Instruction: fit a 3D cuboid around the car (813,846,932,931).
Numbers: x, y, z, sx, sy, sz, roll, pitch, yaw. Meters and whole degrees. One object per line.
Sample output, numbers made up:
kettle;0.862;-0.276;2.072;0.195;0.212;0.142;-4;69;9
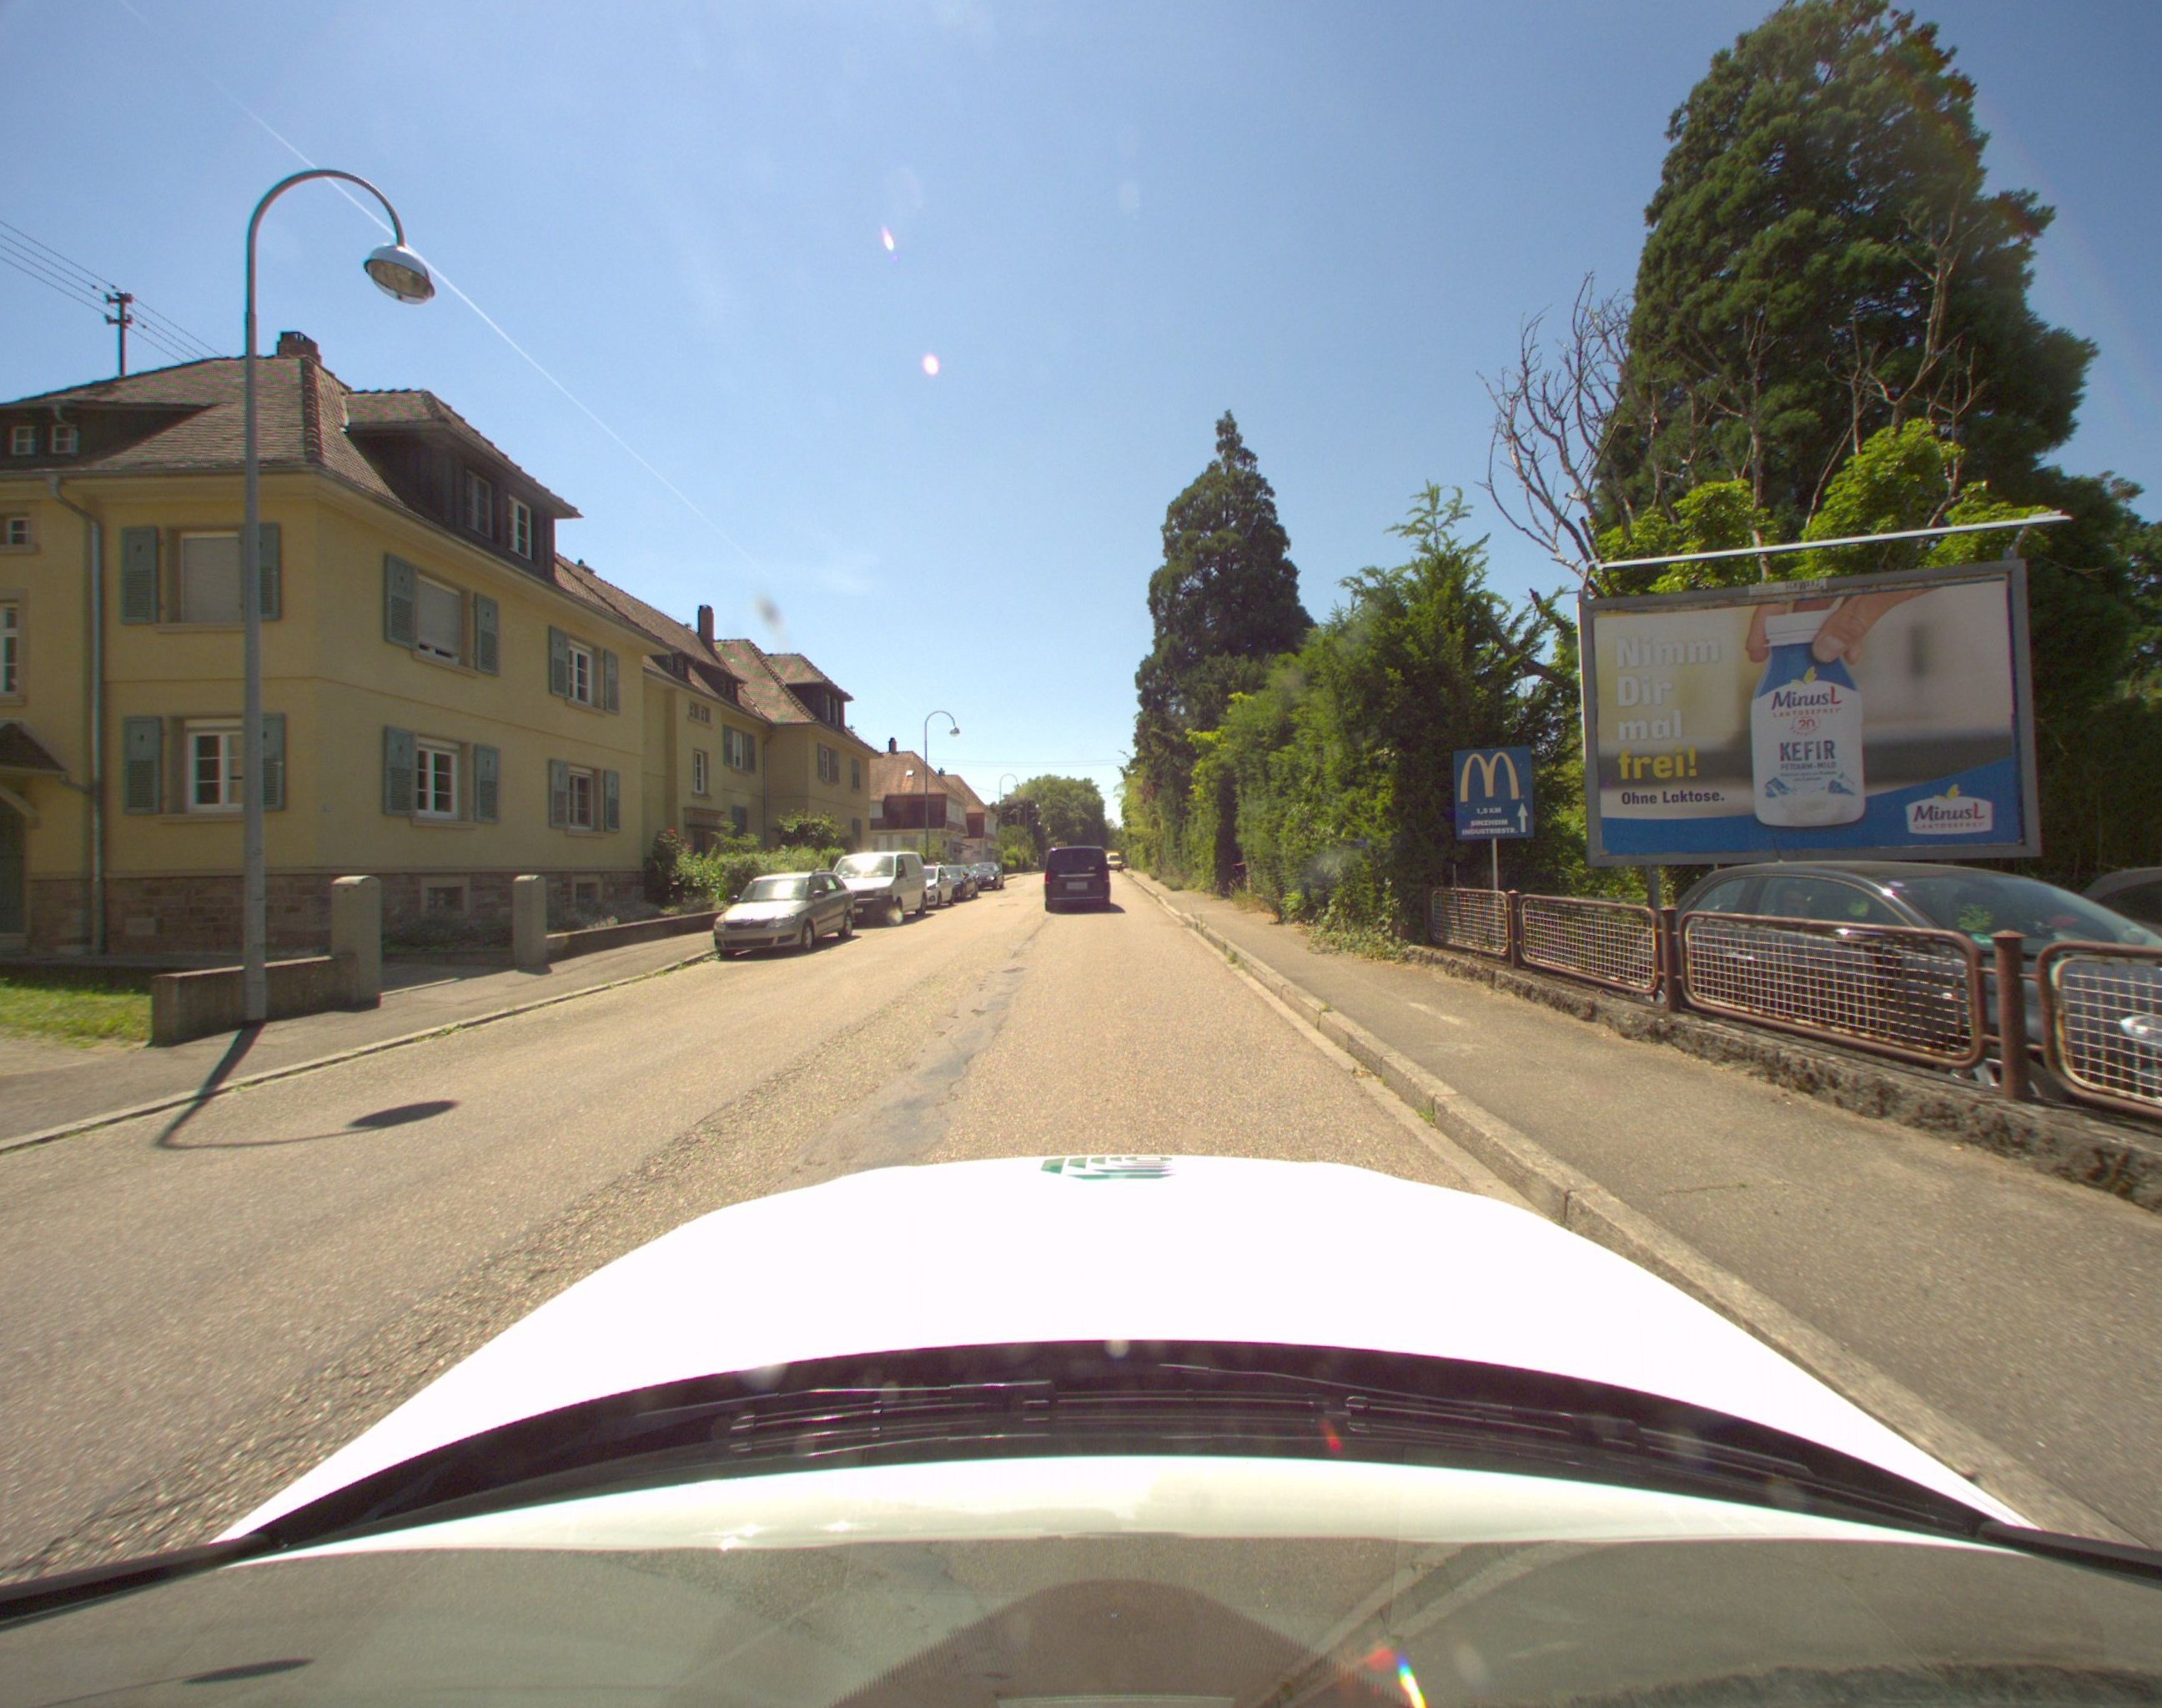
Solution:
car;-5.559;0.860;22.399;1.871;1.963;4.626;-4;0;1

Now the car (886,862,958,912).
car;-5.378;1.078;27.911;1.660;1.492;3.479;-2;0;1

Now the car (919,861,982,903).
car;-5.171;1.062;32.721;1.660;1.492;4.467;-2;0;1

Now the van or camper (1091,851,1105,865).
van or camper;2.443;0.582;116.232;1.986;2.014;4.002;-2;-1;2

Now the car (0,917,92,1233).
car;-6.058;1.094;2.207;1.710;1.485;4.076;-3;-1;0

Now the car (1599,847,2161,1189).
car;5.317;0.744;5.285;1.626;1.459;3.555;2;-1;0

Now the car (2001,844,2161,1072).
car;8.035;0.720;4.827;1.622;1.543;3.400;2;-1;8

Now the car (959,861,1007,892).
car;-4.928;1.118;41.606;1.659;1.386;4.382;-3;0;2

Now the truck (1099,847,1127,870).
truck;3.280;0.530;84.792;2.350;2.258;6.086;-2;-1;-2

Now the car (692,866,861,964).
car;-5.840;1.086;16.159;1.681;1.525;4.062;-4;0;1

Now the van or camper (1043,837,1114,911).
van or camper;0.010;0.571;24.899;1.895;2.014;5.271;-1;-1;2
